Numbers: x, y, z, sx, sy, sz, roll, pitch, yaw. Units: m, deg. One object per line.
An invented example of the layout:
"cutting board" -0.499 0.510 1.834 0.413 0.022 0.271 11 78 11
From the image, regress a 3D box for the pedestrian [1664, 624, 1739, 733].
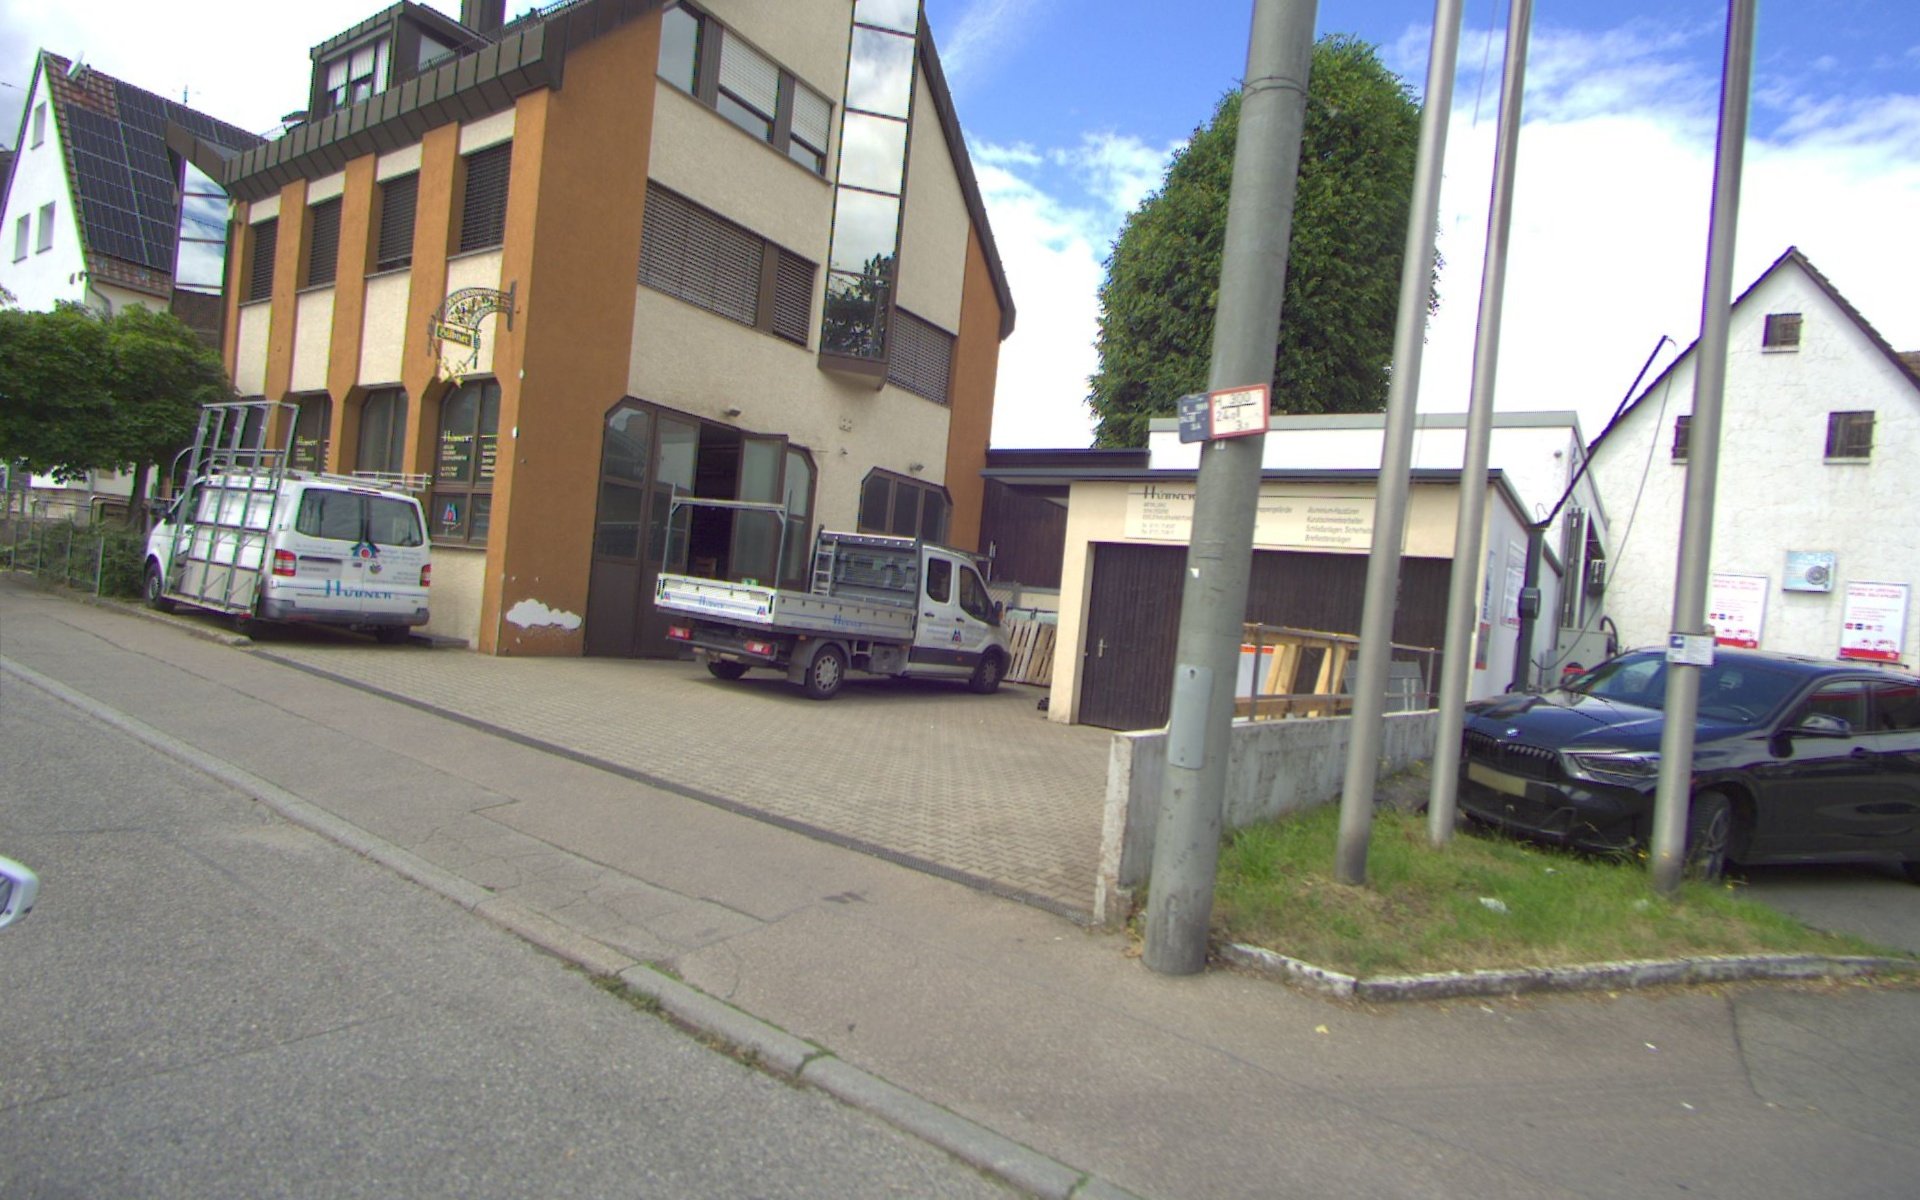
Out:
"pedestrian" 13.407 1.400 18.201 0.663 1.867 0.684 6 -1 -6

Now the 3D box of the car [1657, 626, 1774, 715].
"car" 16.838 1.581 22.345 1.671 1.583 3.979 10 2 40

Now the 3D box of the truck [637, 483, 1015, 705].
"truck" -1.648 0.066 14.406 2.319 2.487 5.090 8 0 34

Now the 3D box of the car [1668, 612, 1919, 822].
"car" 10.269 1.318 11.219 4.553 1.741 1.810 6 5 -28

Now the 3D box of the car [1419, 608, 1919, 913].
"car" 5.682 1.090 7.284 4.255 1.653 1.627 4 3 -20

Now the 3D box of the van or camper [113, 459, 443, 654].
"van or camper" -8.954 -0.611 13.093 4.475 2.056 1.869 5 -2 34
